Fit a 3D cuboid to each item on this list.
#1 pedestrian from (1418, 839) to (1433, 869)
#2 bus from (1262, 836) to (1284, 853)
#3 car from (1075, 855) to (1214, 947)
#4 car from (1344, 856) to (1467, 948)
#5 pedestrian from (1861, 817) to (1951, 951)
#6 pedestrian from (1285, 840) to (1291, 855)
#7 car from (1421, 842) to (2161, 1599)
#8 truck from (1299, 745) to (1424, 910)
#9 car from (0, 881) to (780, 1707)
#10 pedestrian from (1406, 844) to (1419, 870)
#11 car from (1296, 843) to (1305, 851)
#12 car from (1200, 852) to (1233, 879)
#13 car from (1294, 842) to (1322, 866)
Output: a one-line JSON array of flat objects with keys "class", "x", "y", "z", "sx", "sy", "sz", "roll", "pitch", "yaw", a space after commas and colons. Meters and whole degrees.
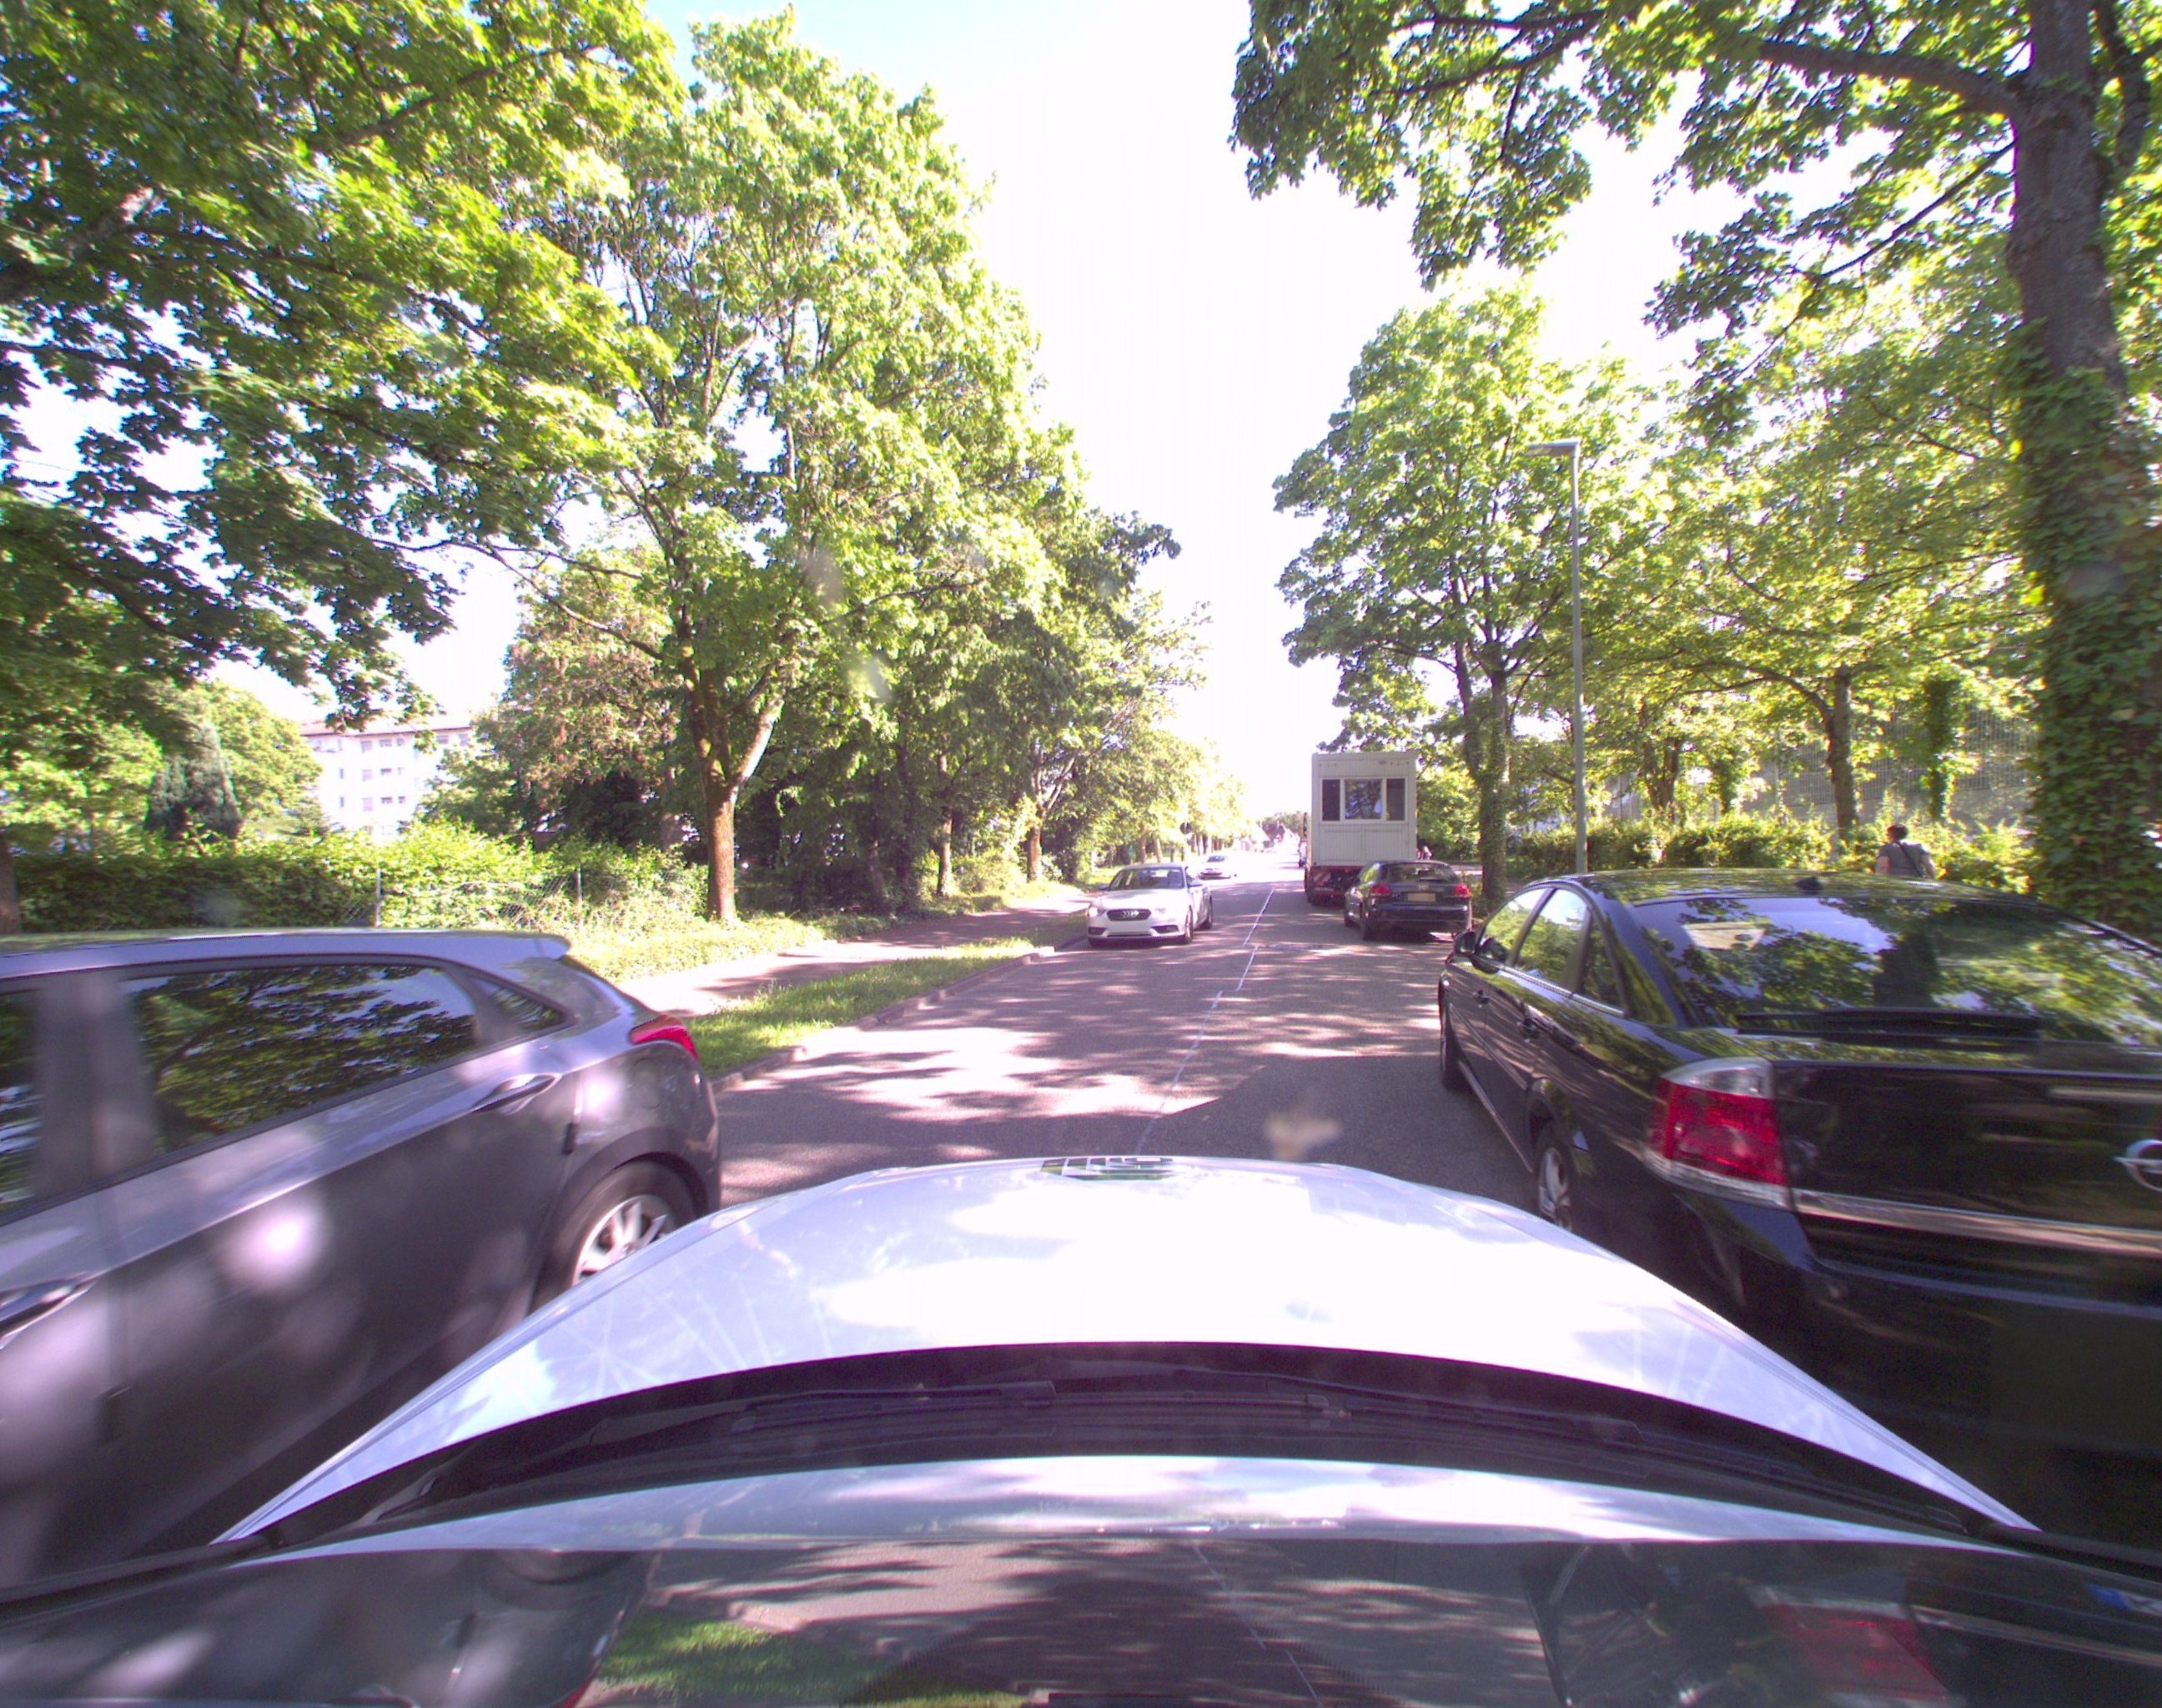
[{"class": "pedestrian", "x": 21.465, "y": -0.009, "z": 50.758, "sx": 0.693, "sy": 1.812, "sz": 0.702, "roll": -3, "pitch": 0, "yaw": 11}, {"class": "bus", "x": 41.825, "y": -2.024, "z": 177.122, "sx": 4.033, "sy": 3.349, "sz": 9.844, "roll": -2, "pitch": 0, "yaw": 17}, {"class": "car", "x": 1.356, "y": 0.797, "z": 15.481, "sx": 1.773, "sy": 1.416, "sz": 4.122, "roll": -3, "pitch": 0, "yaw": 16}, {"class": "car", "x": 5.846, "y": 0.773, "z": 15.056, "sx": 1.628, "sy": 1.420, "sz": 4.016, "roll": 0, "pitch": 0, "yaw": 15}, {"class": "pedestrian", "x": 10.303, "y": 0.357, "z": 10.195, "sx": 0.566, "sy": 1.608, "sz": 0.675, "roll": -1, "pitch": 0, "yaw": 24}, {"class": "pedestrian", "x": 30.775, "y": -0.952, "z": 120.969, "sx": 0.746, "sy": 2.113, "sz": 0.802, "roll": 1, "pitch": 0, "yaw": 17}, {"class": "car", "x": 2.657, "y": 0.718, "z": 3.545, "sx": 1.735, "sy": 1.480, "sz": 4.048, "roll": -1, "pitch": 0, "yaw": 16}, {"class": "truck", "x": 8.236, "y": -0.700, "z": 25.068, "sx": 2.753, "sy": 3.995, "sz": 10.388, "roll": 0, "pitch": 1, "yaw": 14}, {"class": "car", "x": -2.546, "y": 0.899, "z": 1.288, "sx": 1.743, "sy": 1.454, "sz": 4.258, "roll": -3, "pitch": 0, "yaw": 13}, {"class": "pedestrian", "x": 20.778, "y": 0.188, "z": 51.019, "sx": 0.594, "sy": 1.611, "sz": 0.602, "roll": -3, "pitch": 0, "yaw": 11}, {"class": "car", "x": 49.727, "y": -1.608, "z": 184.491, "sx": 1.768, "sy": 1.808, "sz": 4.015, "roll": -2, "pitch": 0, "yaw": 14}, {"class": "car", "x": 7.975, "y": 0.648, "z": 48.111, "sx": 1.795, "sy": 1.420, "sz": 3.968, "roll": -3, "pitch": 0, "yaw": 8}, {"class": "car", "x": 18.421, "y": -0.014, "z": 66.232, "sx": 1.934, "sy": 1.843, "sz": 4.013, "roll": -1, "pitch": 0, "yaw": 11}]
